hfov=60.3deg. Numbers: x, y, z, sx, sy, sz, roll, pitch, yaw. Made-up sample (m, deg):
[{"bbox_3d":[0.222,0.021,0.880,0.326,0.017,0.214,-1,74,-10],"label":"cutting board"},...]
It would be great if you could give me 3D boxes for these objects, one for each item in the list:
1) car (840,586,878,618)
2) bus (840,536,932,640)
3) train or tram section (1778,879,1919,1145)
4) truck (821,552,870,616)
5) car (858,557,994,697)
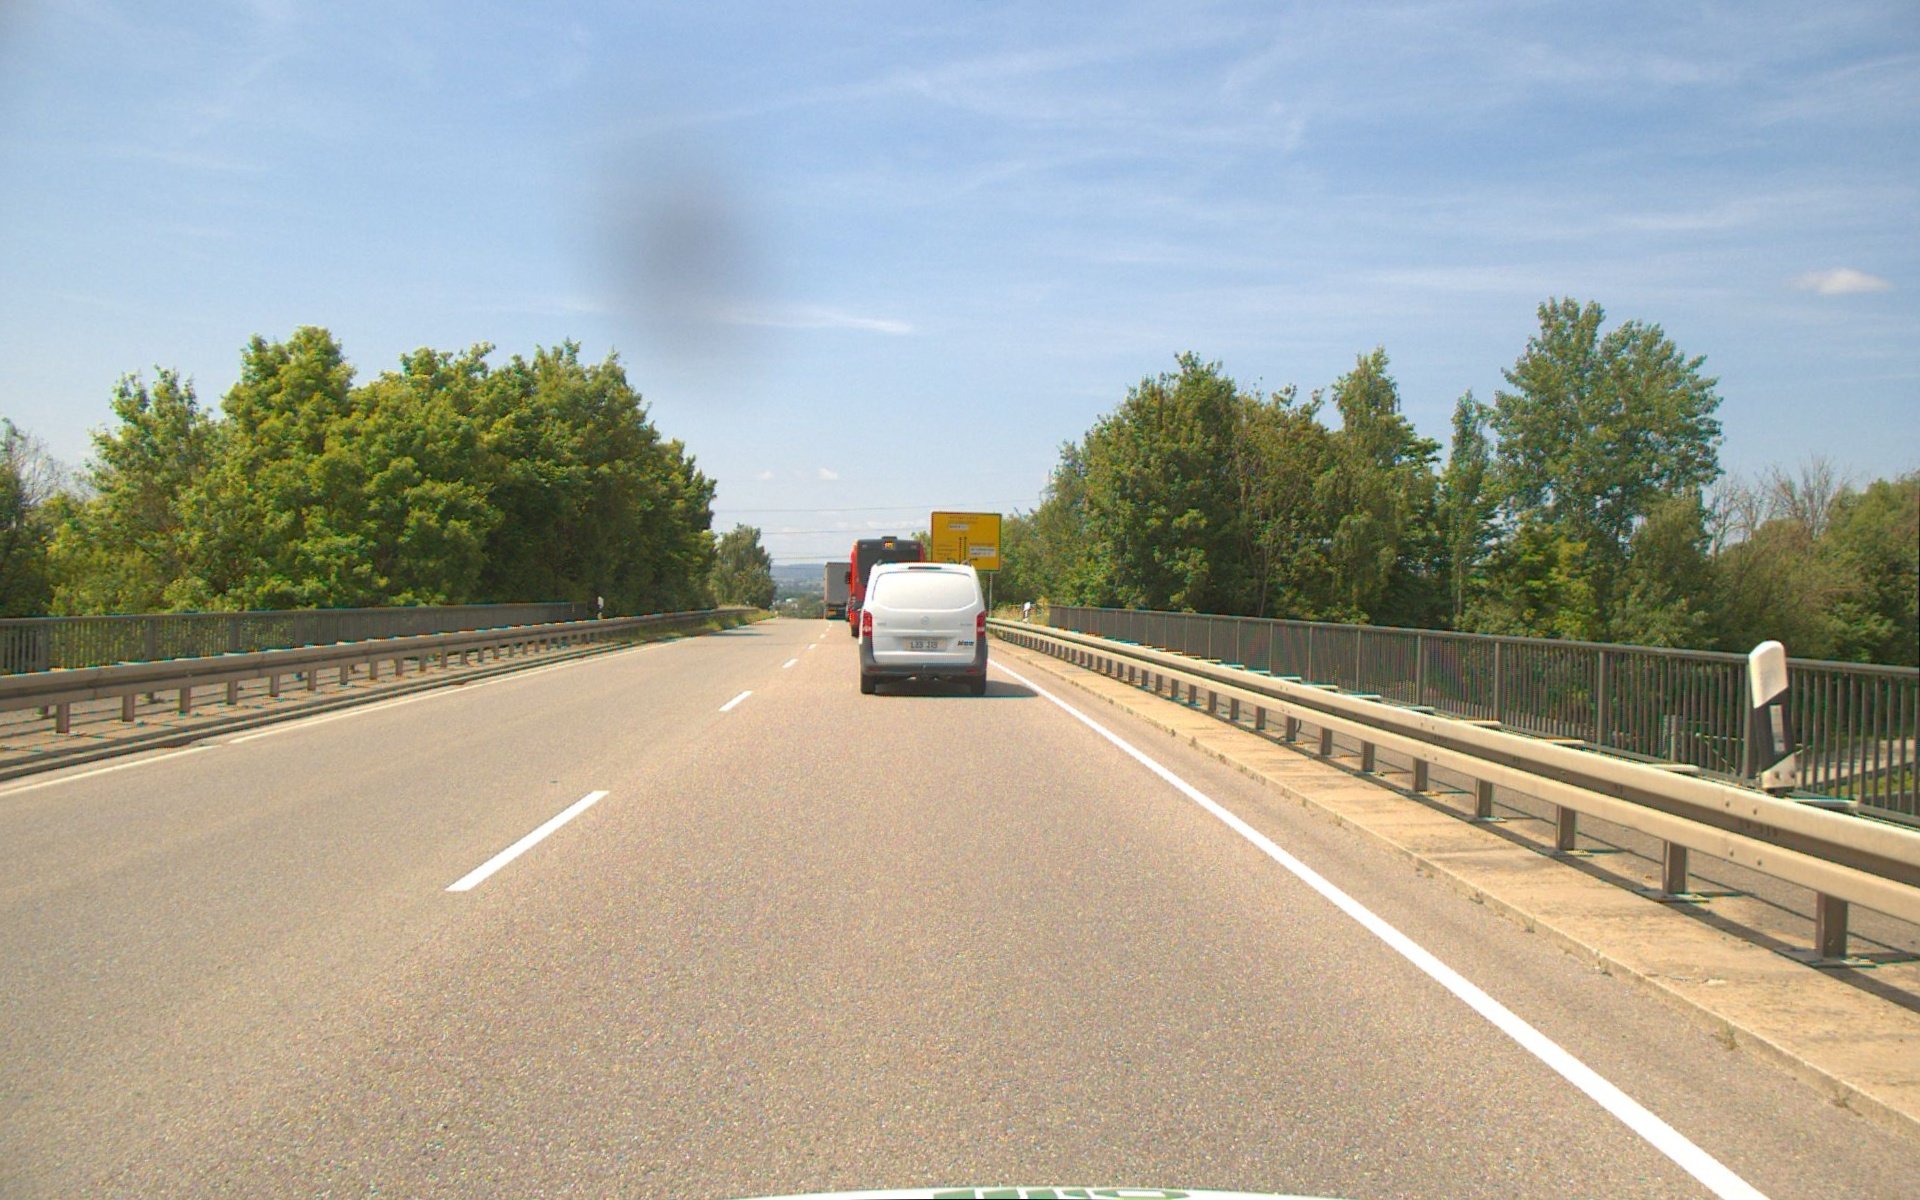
[{"bbox_3d":[-6.178,0.118,101.029,1.957,1.847,3.992,1,0,-9],"label":"car"},{"bbox_3d":[-2.879,-0.449,60.679,2.694,3.412,13.206,0,0,-5],"label":"bus"},{"bbox_3d":[22.715,8.611,37.040,12.314,4.304,2.521,2,0,-37],"label":"train or tram section"},{"bbox_3d":[-8.645,-1.197,124.460,3.420,4.500,14.890,0,1,-4],"label":"truck"},{"bbox_3d":[-0.573,0.358,25.097,1.885,1.922,3.998,1,1,-3],"label":"car"}]
